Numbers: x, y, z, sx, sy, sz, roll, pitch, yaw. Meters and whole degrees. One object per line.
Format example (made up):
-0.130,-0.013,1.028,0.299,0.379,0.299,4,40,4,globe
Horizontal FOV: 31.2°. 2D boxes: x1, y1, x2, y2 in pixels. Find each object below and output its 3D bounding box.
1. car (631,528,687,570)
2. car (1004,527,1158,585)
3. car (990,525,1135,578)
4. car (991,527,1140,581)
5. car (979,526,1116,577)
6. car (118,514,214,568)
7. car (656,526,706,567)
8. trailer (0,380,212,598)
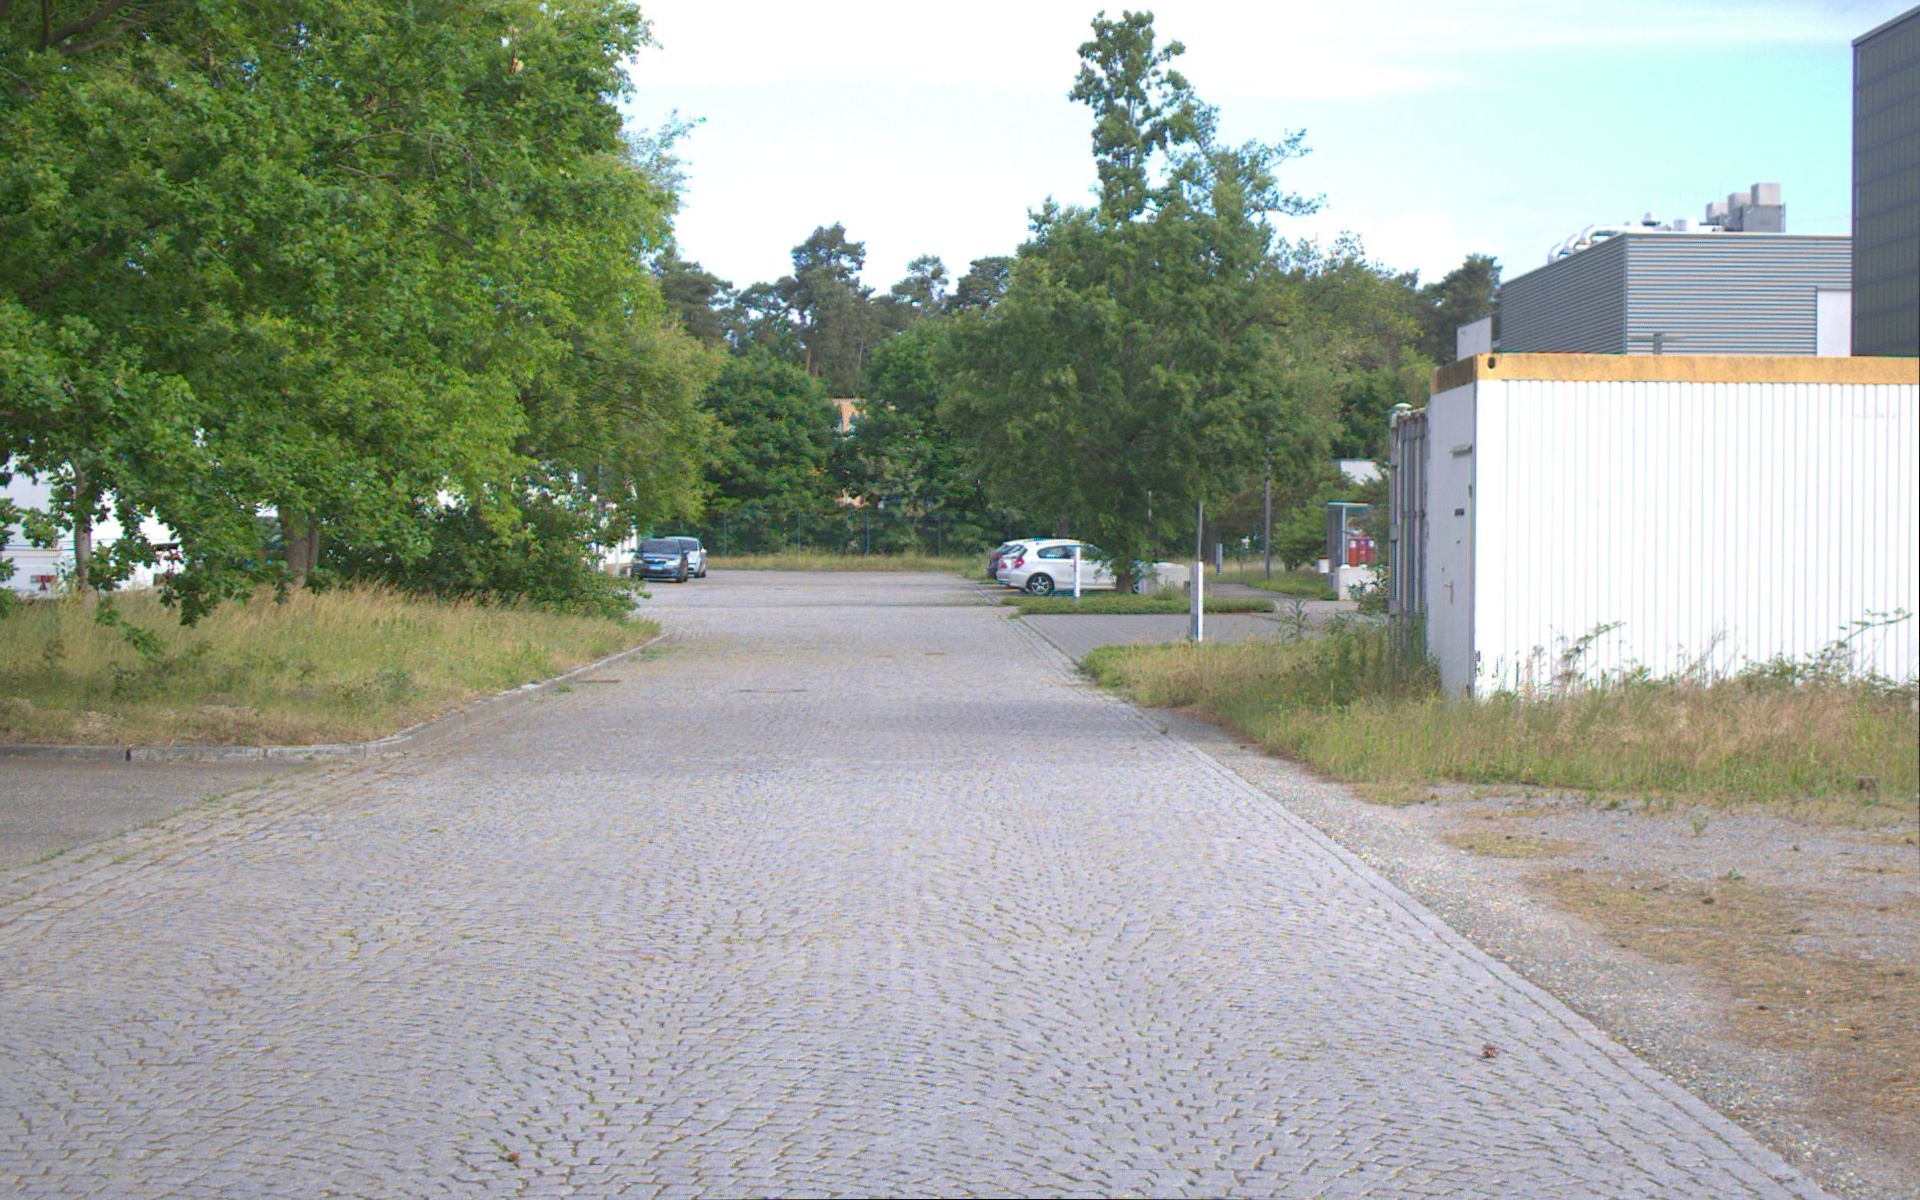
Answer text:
-10.066,-1.725,115.089,1.748,1.359,4.001,0,1,-3,car
3.194,-1.153,91.285,3.987,1.450,2.000,1,0,-1,car
2.847,-1.362,96.488,3.987,1.450,1.770,0,1,-1,car
2.854,-1.253,93.449,3.987,1.450,1.697,0,1,-1,car
2.565,-1.439,101.389,3.987,1.450,1.770,0,1,-1,car
-23.548,-1.753,102.048,1.900,1.569,4.000,0,1,0,car
-10.163,-1.966,125.319,1.748,1.449,4.001,0,1,-3,car
-16.486,-1.997,63.823,2.657,3.693,10.721,0,1,1,trailer
